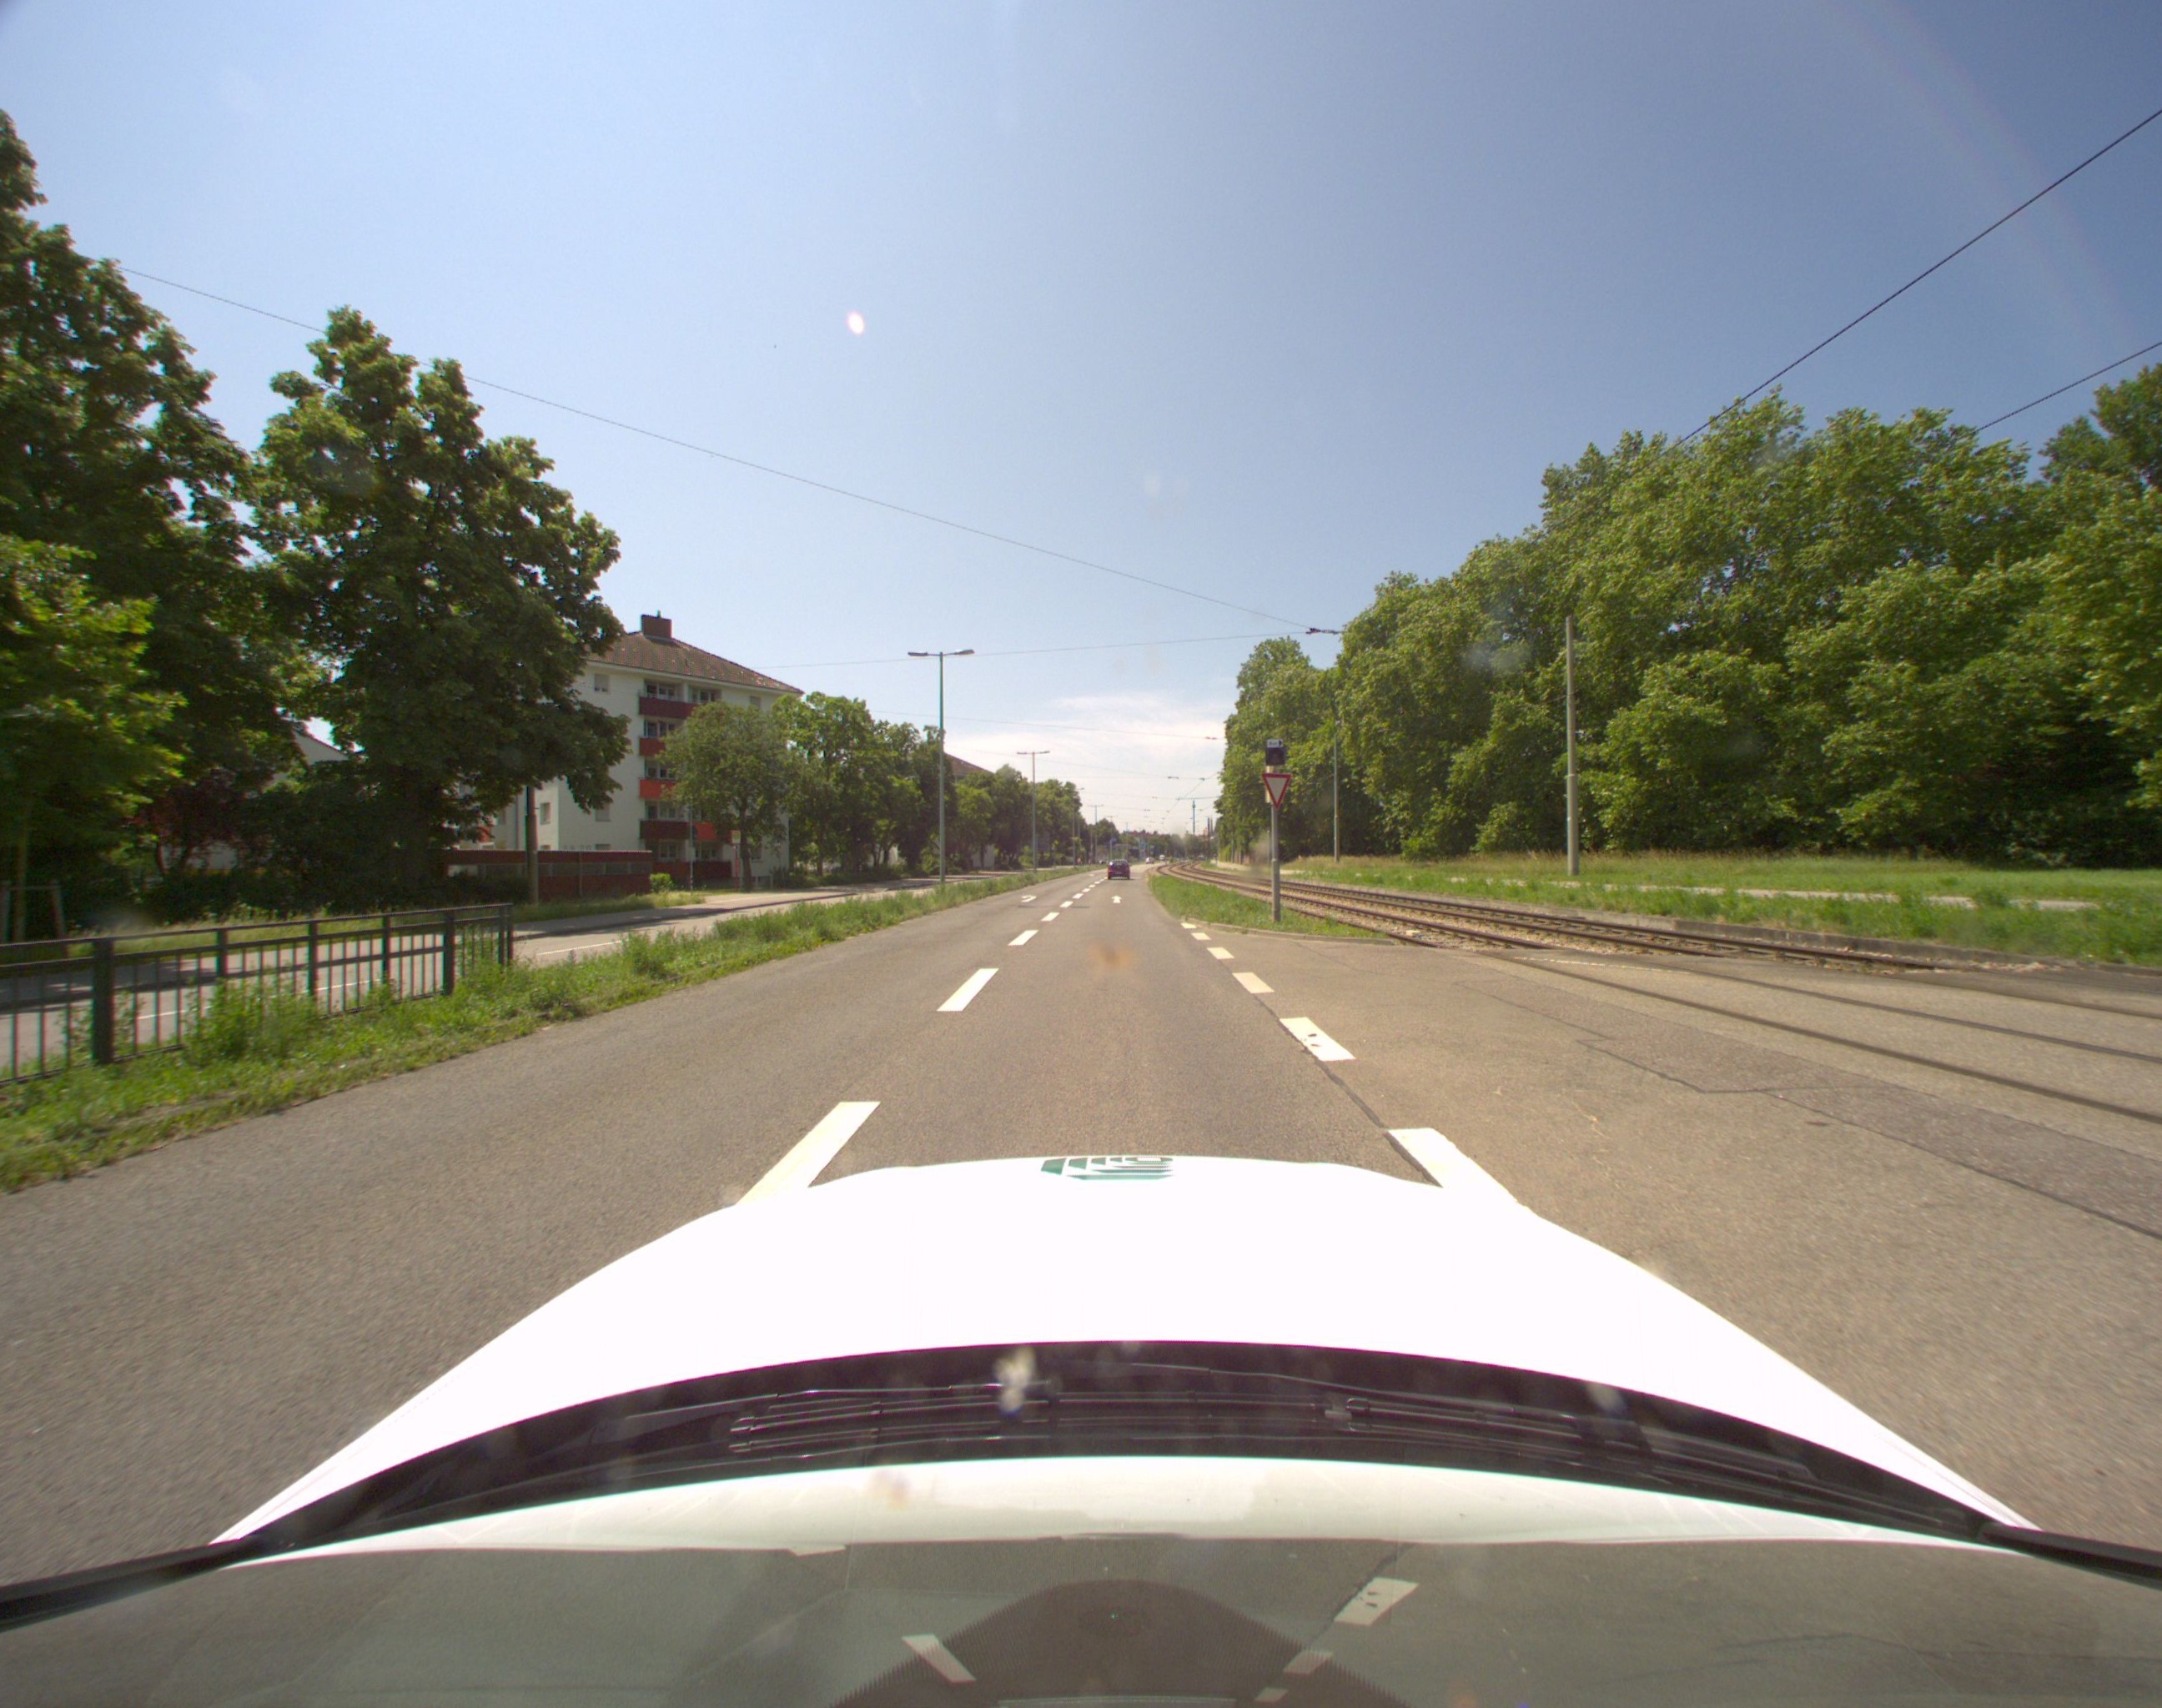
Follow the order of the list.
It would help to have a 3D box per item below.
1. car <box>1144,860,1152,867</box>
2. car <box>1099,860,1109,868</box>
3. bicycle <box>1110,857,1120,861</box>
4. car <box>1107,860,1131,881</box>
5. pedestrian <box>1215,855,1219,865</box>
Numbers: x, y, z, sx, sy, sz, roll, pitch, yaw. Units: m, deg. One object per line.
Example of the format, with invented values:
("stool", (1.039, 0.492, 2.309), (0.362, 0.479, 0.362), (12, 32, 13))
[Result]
("car", (15.835, 2.271, 192.607), (1.695, 1.481, 3.720), (1, -1, 4))
("car", (4.861, 2.106, 171.869), (1.914, 1.626, 4.762), (-2, -1, 5))
("bicycle", (9.596, 1.345, 230.031), (2.546, 1.038, 1.085), (1, -1, -5))
("car", (2.796, 1.192, 60.628), (1.696, 1.477, 3.718), (2, 0, 2))
("pedestrian", (23.986, 1.033, 143.793), (0.658, 1.726, 0.818), (-1, -1, 8))
